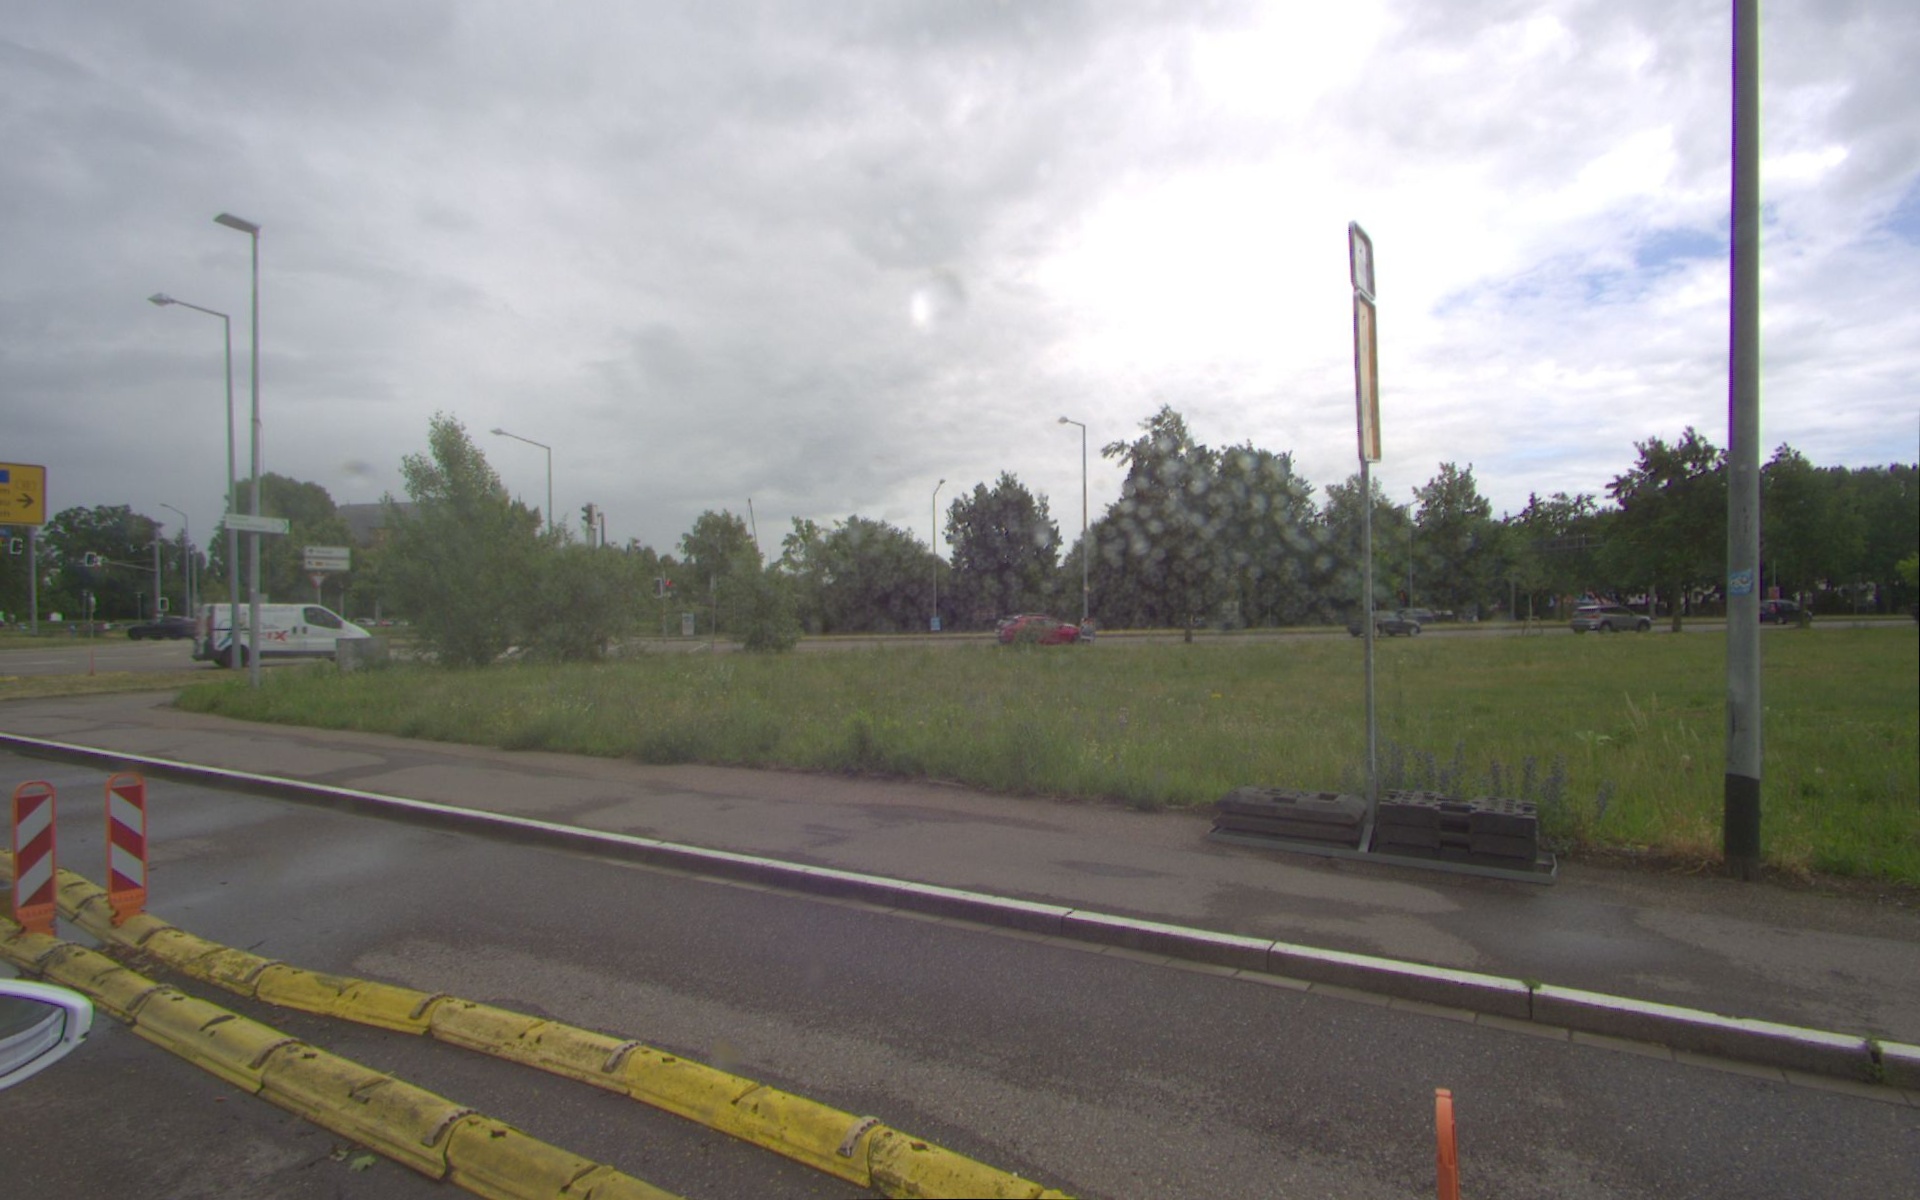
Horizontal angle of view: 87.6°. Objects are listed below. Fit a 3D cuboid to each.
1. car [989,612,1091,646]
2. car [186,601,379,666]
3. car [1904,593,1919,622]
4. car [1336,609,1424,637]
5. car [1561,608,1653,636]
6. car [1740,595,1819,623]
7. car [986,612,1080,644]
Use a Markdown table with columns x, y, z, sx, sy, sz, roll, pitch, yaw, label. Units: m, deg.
| x | y | z | sx | sy | sz | roll | pitch | yaw | label |
| --- | --- | --- | --- | --- | --- | --- | --- | --- | --- |
| 3.691 | 1.316 | 46.336 | 4.281 | 1.483 | 1.996 | 0 | 0 | -18 | car |
| -21.570 | 0.992 | 32.028 | 2.078 | 1.925 | 4.803 | 0 | 0 | 45 | car |
| 66.927 | 0.485 | 67.966 | 4.957 | 1.998 | 2.218 | 0 | 0 | -21 | car |
| 23.366 | 1.250 | 55.745 | 4.246 | 1.483 | 1.996 | 0 | 0 | -17 | car |
| 35.738 | 1.193 | 55.346 | 4.243 | 1.483 | 1.909 | 0 | 0 | -15 | car |
| 55.493 | 0.618 | 67.808 | 4.131 | 1.837 | 2.075 | 0 | 0 | -13 | car |
| 3.584 | 1.371 | 49.538 | 4.279 | 1.483 | 1.858 | 0 | 0 | -16 | car |
